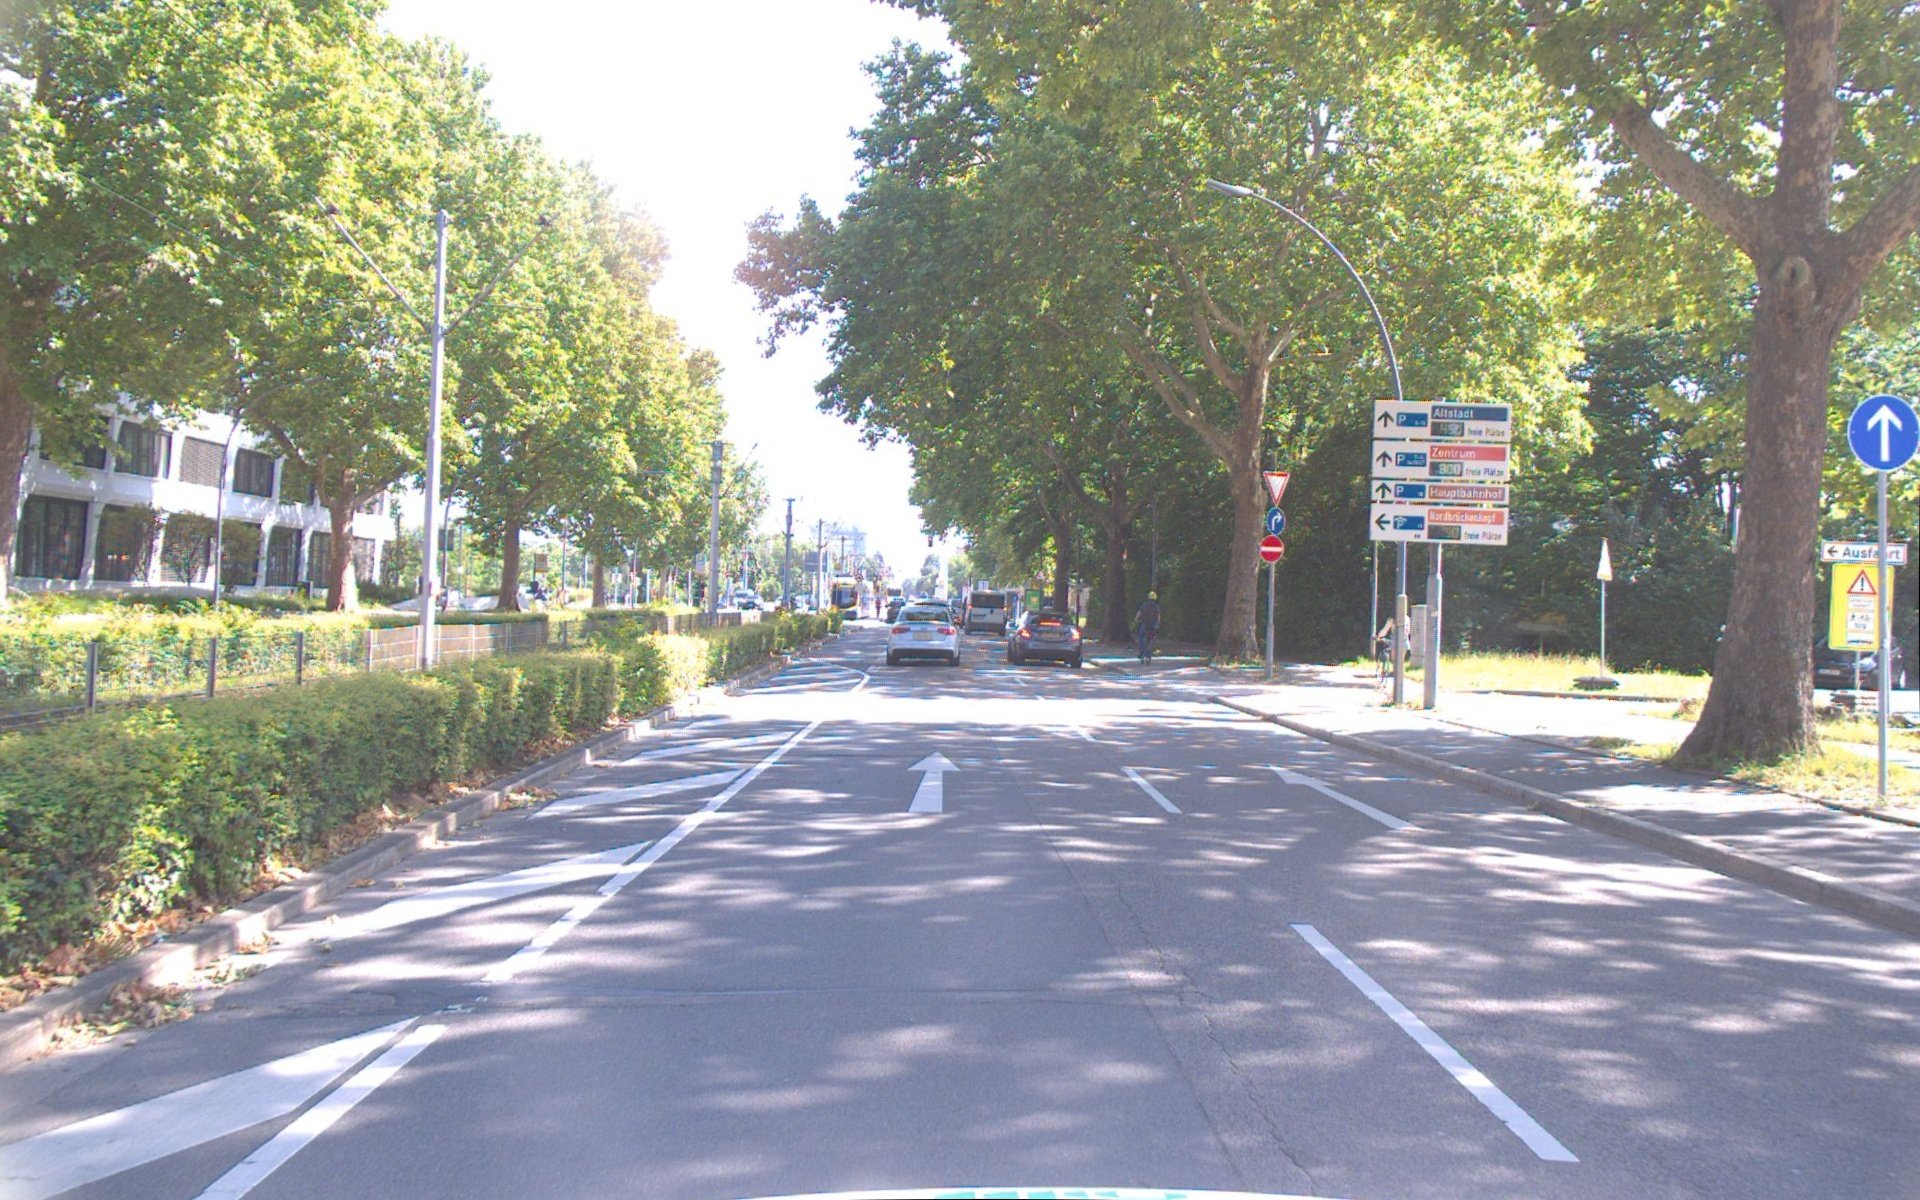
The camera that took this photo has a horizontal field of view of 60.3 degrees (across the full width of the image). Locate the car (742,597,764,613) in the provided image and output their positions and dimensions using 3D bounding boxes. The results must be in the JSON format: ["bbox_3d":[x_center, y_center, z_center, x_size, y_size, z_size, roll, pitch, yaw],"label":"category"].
[{"bbox_3d":[-22.535,0.543,179.949,1.793,1.652,4.895,2,0,-1],"label":"car"}]

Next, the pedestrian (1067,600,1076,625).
[{"bbox_3d":[8.769,0.991,130.627,0.601,1.929,0.597,1,-1,-4],"label":"pedestrian"}]

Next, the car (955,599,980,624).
[{"bbox_3d":[0.635,1.005,144.991,2.030,2.034,4.057,2,0,-1],"label":"car"}]

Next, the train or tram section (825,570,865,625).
[{"bbox_3d":[-9.072,-0.181,131.152,2.563,4.085,7.747,2,0,-1],"label":"train or tram section"}]

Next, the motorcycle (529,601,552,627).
[{"bbox_3d":[-20.156,0.674,79.491,0.619,1.195,1.999,2,0,-1],"label":"motorcycle"}]

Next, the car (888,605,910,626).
[{"bbox_3d":[-5.097,1.265,137.816,1.694,1.659,3.999,2,0,-1],"label":"car"}]

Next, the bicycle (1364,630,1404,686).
[{"bbox_3d":[8.803,1.190,34.382,0.342,1.101,1.698,2,0,-1],"label":"bicycle"}]

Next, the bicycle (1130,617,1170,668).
[{"bbox_3d":[4.883,1.078,42.601,0.700,1.168,2.178,-1,2,-2],"label":"bicycle"}]

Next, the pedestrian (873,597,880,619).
[{"bbox_3d":[-7.568,0.721,150.024,0.611,1.952,0.689,2,-1,-1],"label":"pedestrian"}]

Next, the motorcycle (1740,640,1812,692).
[{"bbox_3d":[15.969,1.288,32.360,1.196,0.984,0.470,2,0,-8],"label":"motorcycle"}]

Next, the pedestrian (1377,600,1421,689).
[{"bbox_3d":[9.173,0.925,34.582,0.619,1.816,0.874,2,-1,-2],"label":"pedestrian"}]

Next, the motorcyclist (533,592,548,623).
[{"bbox_3d":[-20.157,0.369,79.497,0.569,1.483,0.533,2,0,-1],"label":"motorcyclist"}]

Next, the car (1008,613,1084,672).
[{"bbox_3d":[2.261,1.098,44.383,1.746,1.445,3.999,2,0,-1],"label":"car"}]

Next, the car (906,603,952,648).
[{"bbox_3d":[-1.187,0.963,64.370,1.694,1.633,3.884,2,0,-1],"label":"car"}]

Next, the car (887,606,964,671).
[{"bbox_3d":[-0.838,0.913,40.797,1.748,1.445,3.884,2,0,-1],"label":"car"}]

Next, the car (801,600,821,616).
[{"bbox_3d":[-17.095,0.891,190.166,1.953,1.764,3.999,2,0,-1],"label":"car"}]

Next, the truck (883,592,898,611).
[{"bbox_3d":[-10.895,0.257,259.913,1.953,2.839,8.517,2,0,-1],"label":"truck"}]

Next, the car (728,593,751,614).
[{"bbox_3d":[-25.872,0.438,194.019,2.071,2.424,3.999,2,0,-1],"label":"car"}]

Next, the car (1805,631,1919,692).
[{"bbox_3d":[23.815,1.591,43.022,3.955,1.479,1.663,2,0,-36],"label":"car"}]

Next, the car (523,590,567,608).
[{"bbox_3d":[-40.261,-0.084,160.616,3.769,1.576,1.769,2,0,-1],"label":"car"}]

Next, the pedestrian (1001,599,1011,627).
[{"bbox_3d":[3.324,0.922,118.461,0.622,1.980,0.719,2,-1,-1],"label":"pedestrian"}]

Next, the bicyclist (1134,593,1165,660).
[{"bbox_3d":[4.869,0.681,42.550,0.621,1.677,0.979,-1,1,-2],"label":"bicyclist"}]

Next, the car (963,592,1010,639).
[{"bbox_3d":[1.333,0.796,84.636,2.185,2.250,4.161,2,0,-1],"label":"car"}]
